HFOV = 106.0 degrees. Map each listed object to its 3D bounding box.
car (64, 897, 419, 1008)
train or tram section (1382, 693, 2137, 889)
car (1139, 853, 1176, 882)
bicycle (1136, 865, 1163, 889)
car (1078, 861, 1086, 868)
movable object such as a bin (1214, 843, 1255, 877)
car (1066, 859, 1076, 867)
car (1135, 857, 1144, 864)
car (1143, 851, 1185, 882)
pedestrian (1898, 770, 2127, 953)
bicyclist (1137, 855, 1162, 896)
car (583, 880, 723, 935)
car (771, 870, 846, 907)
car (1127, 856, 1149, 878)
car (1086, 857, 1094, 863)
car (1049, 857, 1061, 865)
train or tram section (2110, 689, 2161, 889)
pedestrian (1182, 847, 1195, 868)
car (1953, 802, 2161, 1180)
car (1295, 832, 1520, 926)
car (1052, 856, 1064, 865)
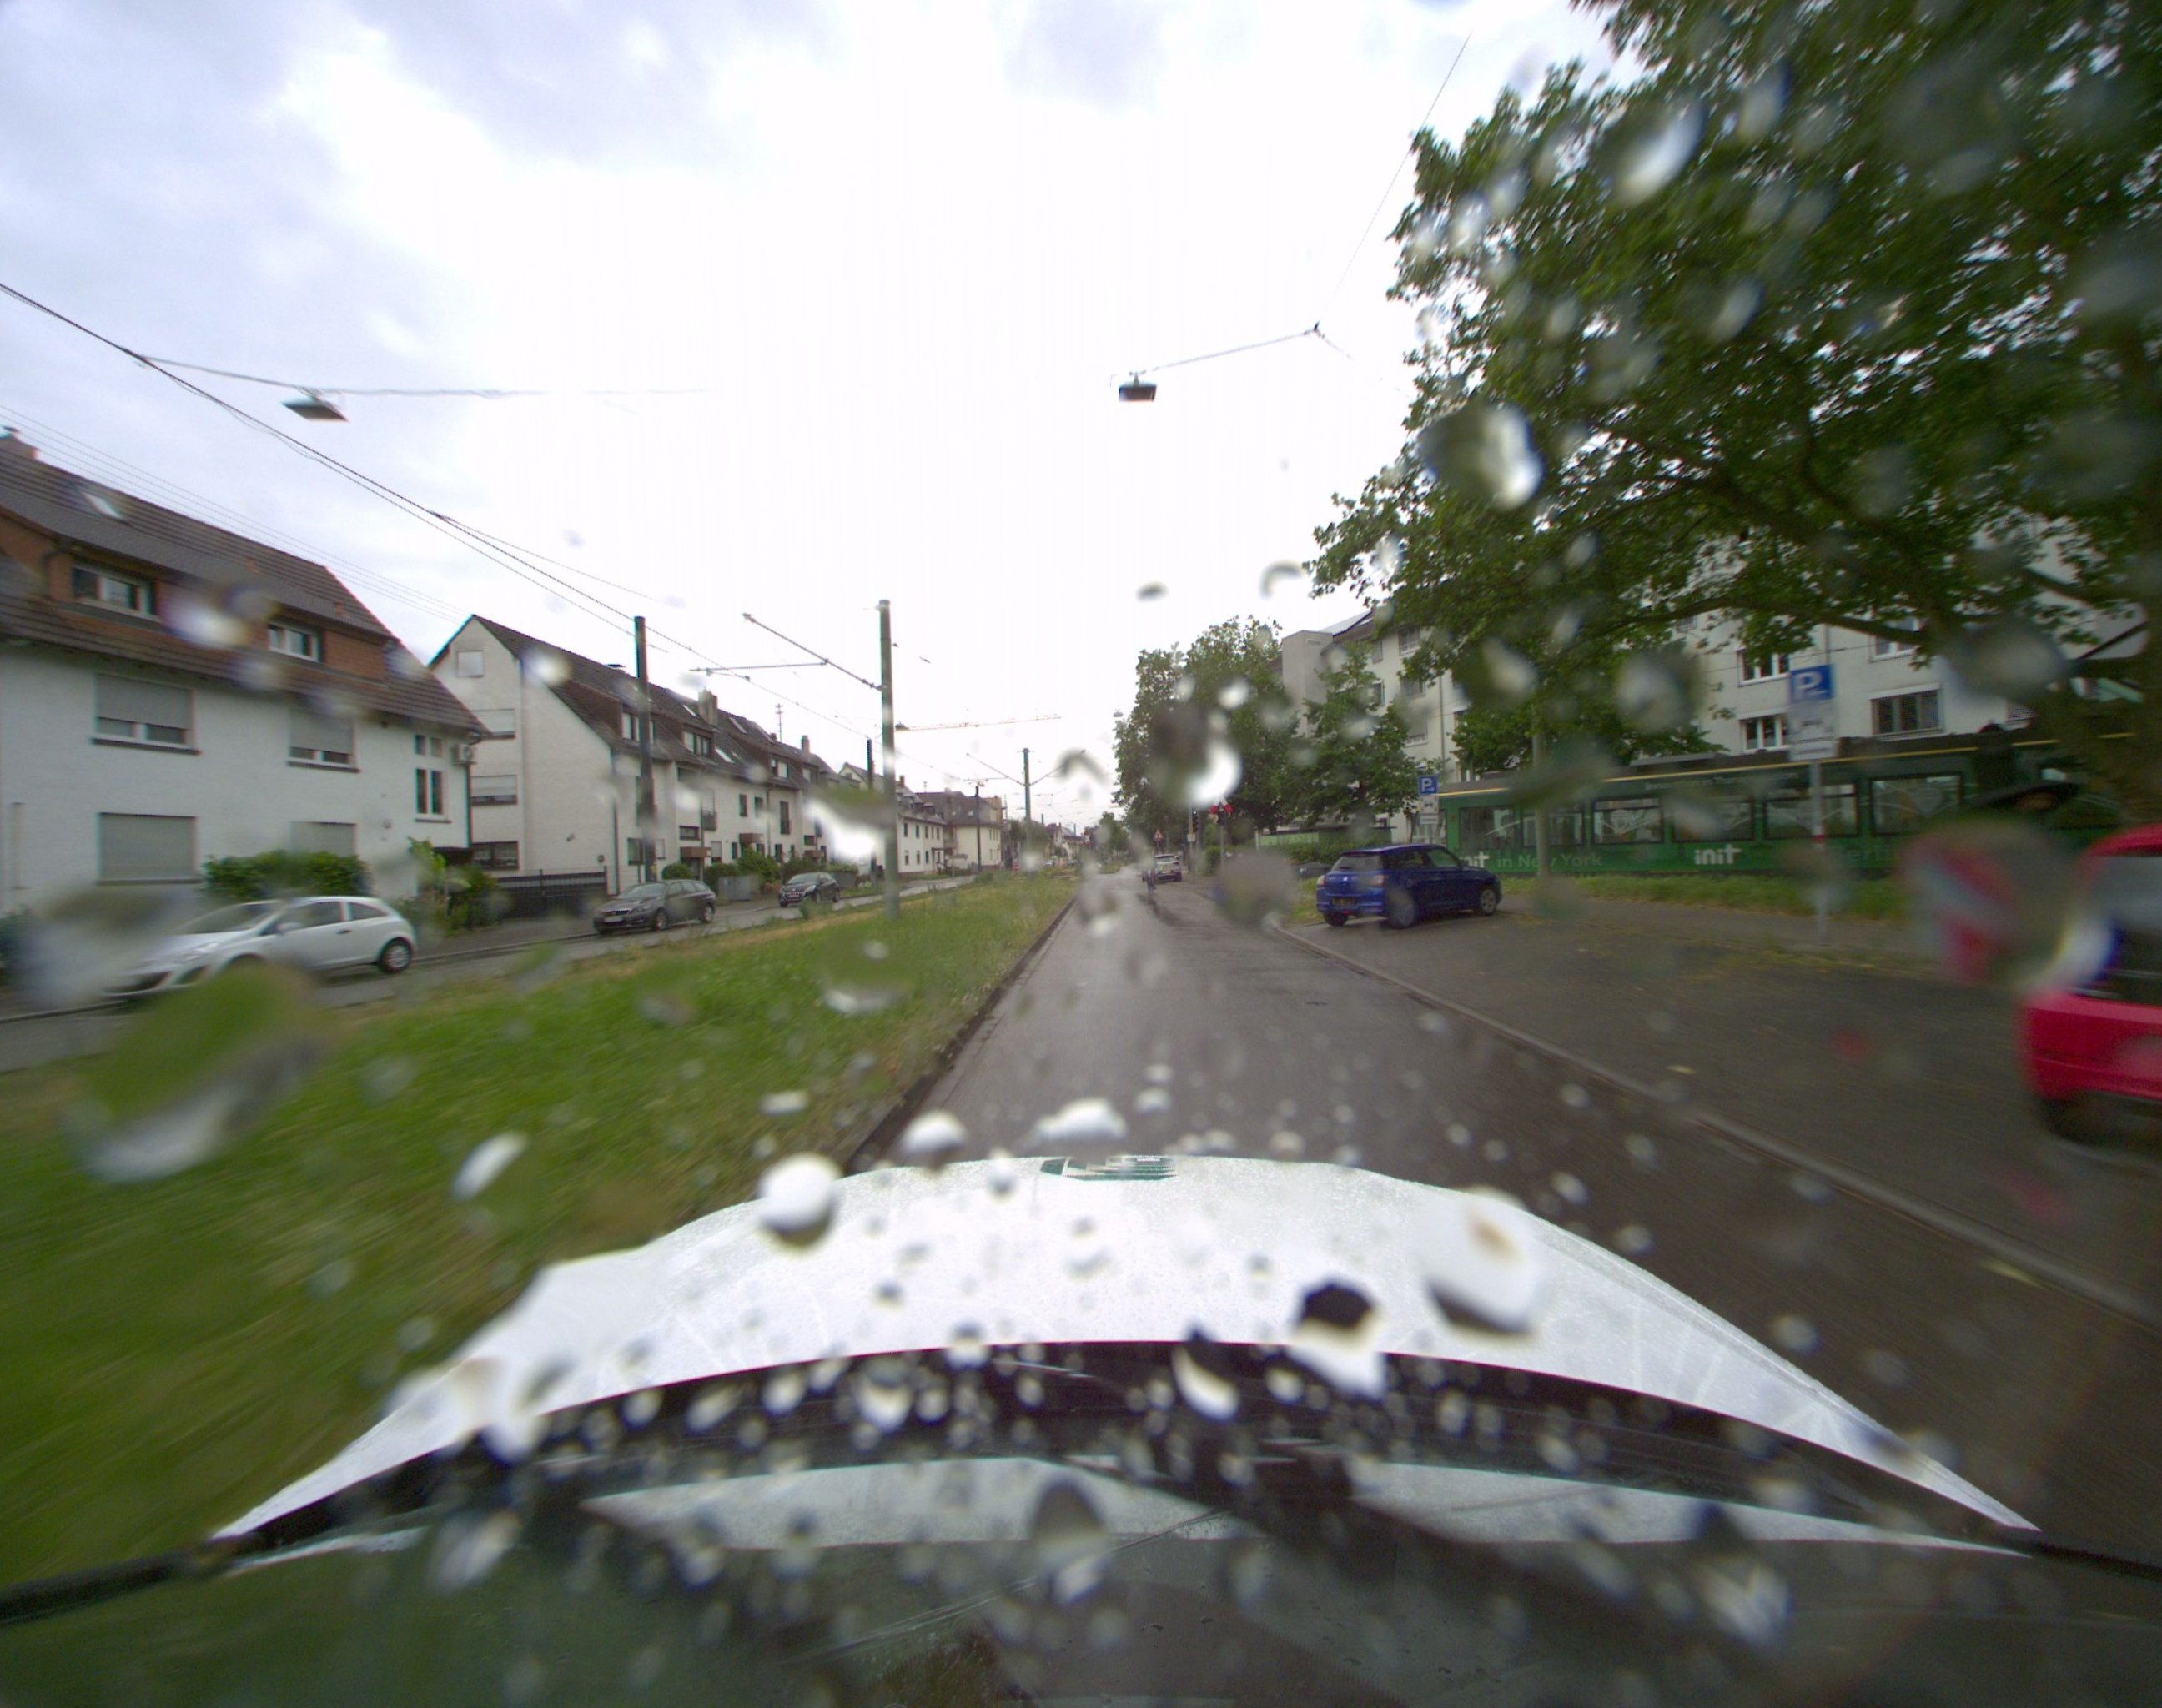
[{"bbox_3d":[-13.320,1.482,13.337,1.594,1.424,3.945,-2,-2,2],"label":"car"},{"bbox_3d":[15.410,-0.917,21.255,2.729,3.590,14.561,0,-2,-41],"label":"train or tram section"},{"bbox_3d":[4.821,0.854,51.782,1.935,1.652,4.000,-4,-1,1],"label":"car"},{"bbox_3d":[2.714,0.907,32.418,0.819,0.912,1.984,-3,-1,-1],"label":"bicycle"},{"bbox_3d":[0.317,2.786,219.105,1.985,1.544,4.003,-2,-2,3],"label":"car"},{"bbox_3d":[8.202,0.324,43.623,1.555,1.704,1.489,-3,-1,-22],"label":"movable object such as a bin"},{"bbox_3d":[-2.425,2.124,193.543,1.985,1.544,4.003,-2,-2,3],"label":"car"},{"bbox_3d":[13.996,1.538,195.241,1.986,1.492,4.001,-2,-2,2],"label":"car"},{"bbox_3d":[4.631,0.697,46.003,1.948,1.553,4.000,-4,-1,1],"label":"car"},{"bbox_3d":[9.543,0.072,8.413,1.040,1.714,1.081,-3,-1,2],"label":"pedestrian"},{"bbox_3d":[2.710,0.849,32.225,0.828,1.558,0.913,-3,-1,-1],"label":"bicyclist"},{"bbox_3d":[-12.749,1.551,24.626,1.594,1.424,4.668,-2,-2,2],"label":"car"},{"bbox_3d":[-12.351,1.558,37.174,1.870,1.503,4.134,-2,-2,2],"label":"car"},{"bbox_3d":[5.656,1.291,81.293,1.935,2.013,4.000,-4,-1,1],"label":"car"},{"bbox_3d":[2.635,1.892,241.208,1.985,1.544,4.003,-2,-2,3],"label":"car"},{"bbox_3d":[-5.096,1.428,162.382,1.985,1.544,4.003,-2,-2,3],"label":"car"},{"bbox_3d":[24.926,-1.405,10.283,2.729,3.590,14.561,0,-2,-41],"label":"train or tram section"},{"bbox_3d":[8.981,0.275,68.071,0.741,1.716,0.754,-5,-2,25],"label":"pedestrian"},{"bbox_3d":[6.084,0.466,3.820,3.605,1.480,1.624,-4,0,-25],"label":"car"},{"bbox_3d":[6.356,0.403,15.803,4.012,1.483,1.981,-3,1,-30],"label":"car"},{"bbox_3d":[-4.710,1.367,168.007,1.985,1.705,4.003,-2,-2,3],"label":"car"}]
